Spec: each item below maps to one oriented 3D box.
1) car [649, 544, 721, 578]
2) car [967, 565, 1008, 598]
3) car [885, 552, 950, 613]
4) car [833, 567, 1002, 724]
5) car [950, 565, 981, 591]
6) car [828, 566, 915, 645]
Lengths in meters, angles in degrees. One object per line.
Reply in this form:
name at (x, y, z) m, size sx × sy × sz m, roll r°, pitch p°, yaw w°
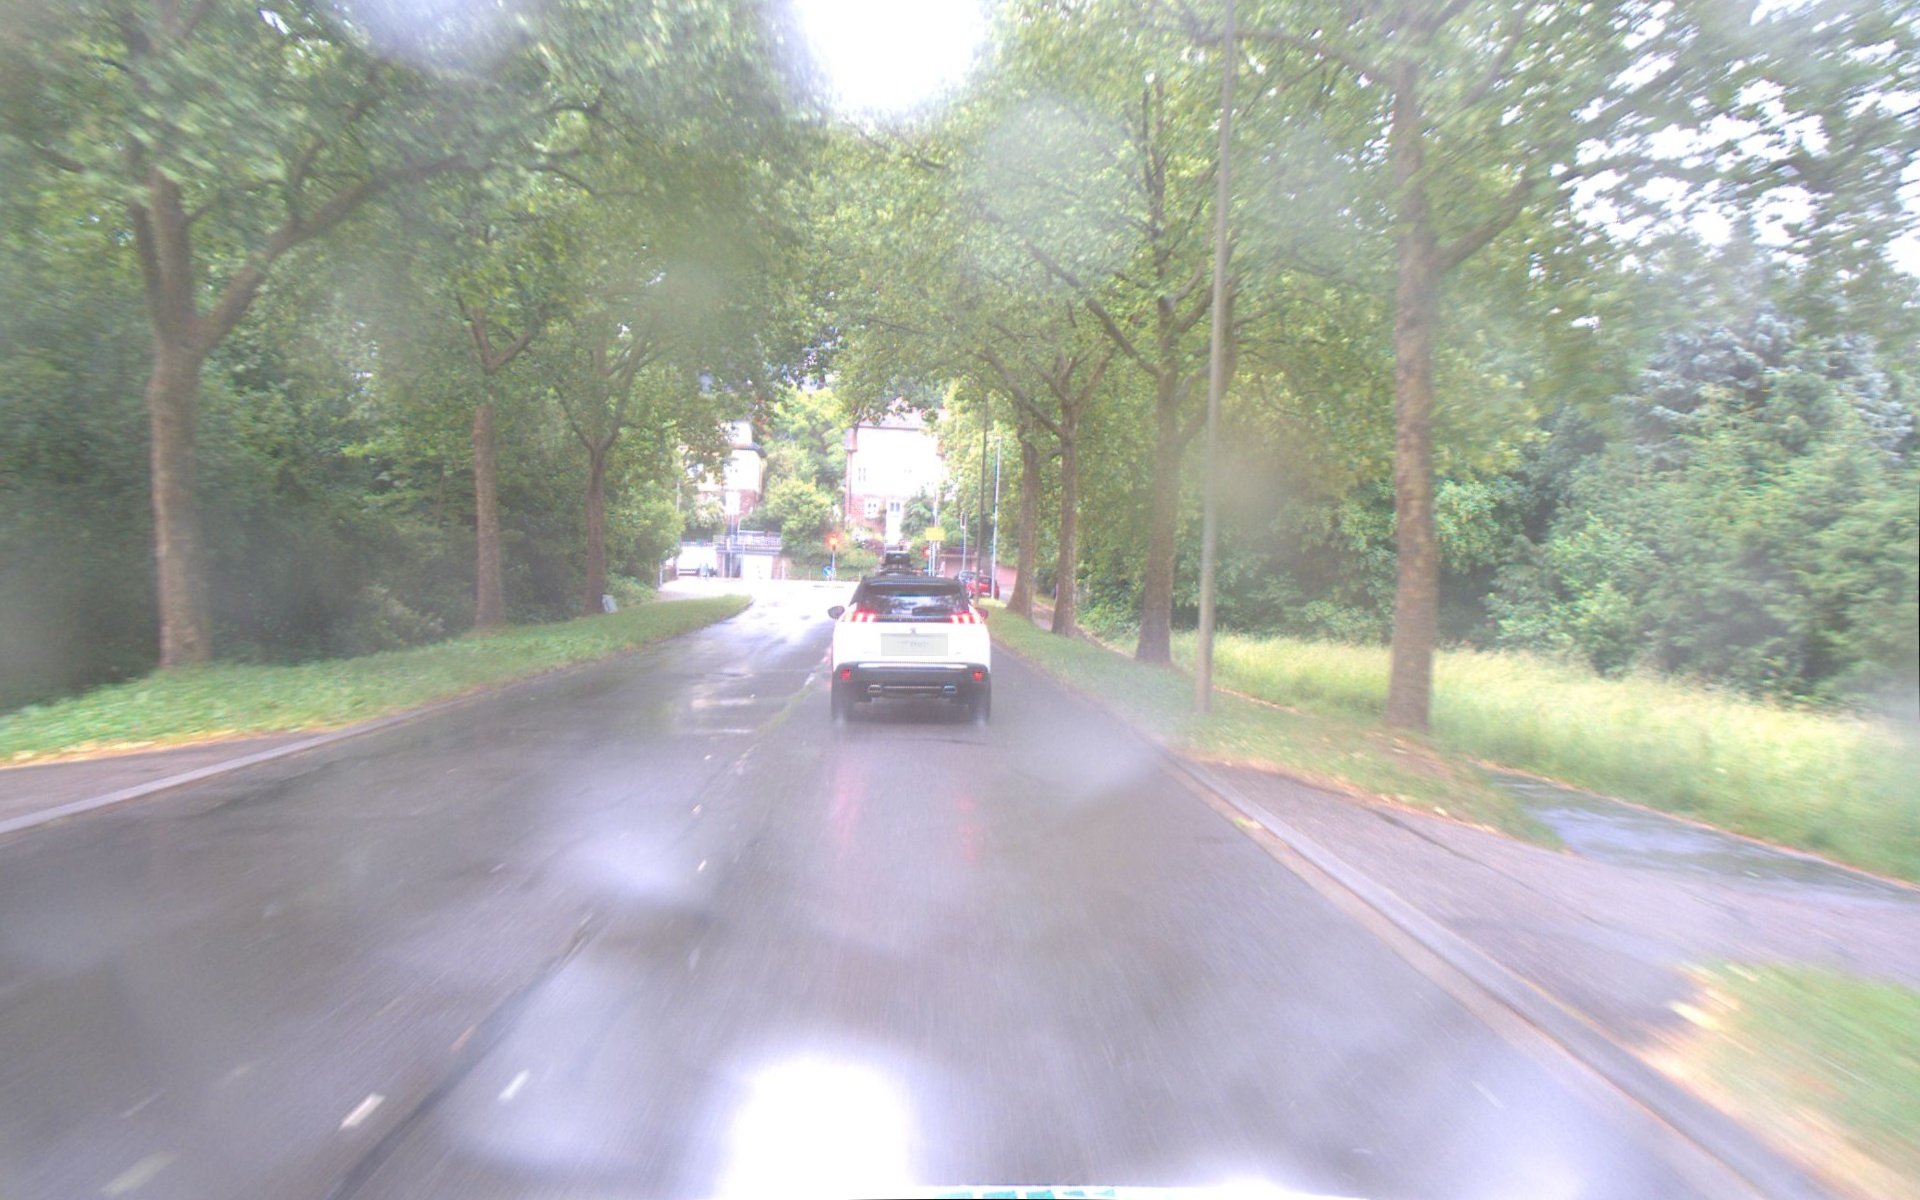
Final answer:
car at (-22.945, -3.224, 138.060) m, size 5.547 × 2.537 × 2.315 m, roll 3°, pitch 0°, yaw -3°
car at (1.578, -1.102, 97.489) m, size 1.786 × 1.542 × 3.740 m, roll 9°, pitch 2°, yaw -6°
car at (-1.416, -0.609, 53.142) m, size 1.726 × 1.740 × 4.597 m, roll 3°, pitch 2°, yaw -5°
car at (-0.571, 0.432, 19.201) m, size 1.718 × 1.562 × 4.365 m, roll 1°, pitch 1°, yaw -4°
car at (0.339, -1.447, 106.994) m, size 1.715 × 1.517 × 3.597 m, roll 5°, pitch 1°, yaw -4°
car at (-2.028, 0.070, 38.270) m, size 1.795 × 1.481 × 4.657 m, roll 5°, pitch 2°, yaw -3°
